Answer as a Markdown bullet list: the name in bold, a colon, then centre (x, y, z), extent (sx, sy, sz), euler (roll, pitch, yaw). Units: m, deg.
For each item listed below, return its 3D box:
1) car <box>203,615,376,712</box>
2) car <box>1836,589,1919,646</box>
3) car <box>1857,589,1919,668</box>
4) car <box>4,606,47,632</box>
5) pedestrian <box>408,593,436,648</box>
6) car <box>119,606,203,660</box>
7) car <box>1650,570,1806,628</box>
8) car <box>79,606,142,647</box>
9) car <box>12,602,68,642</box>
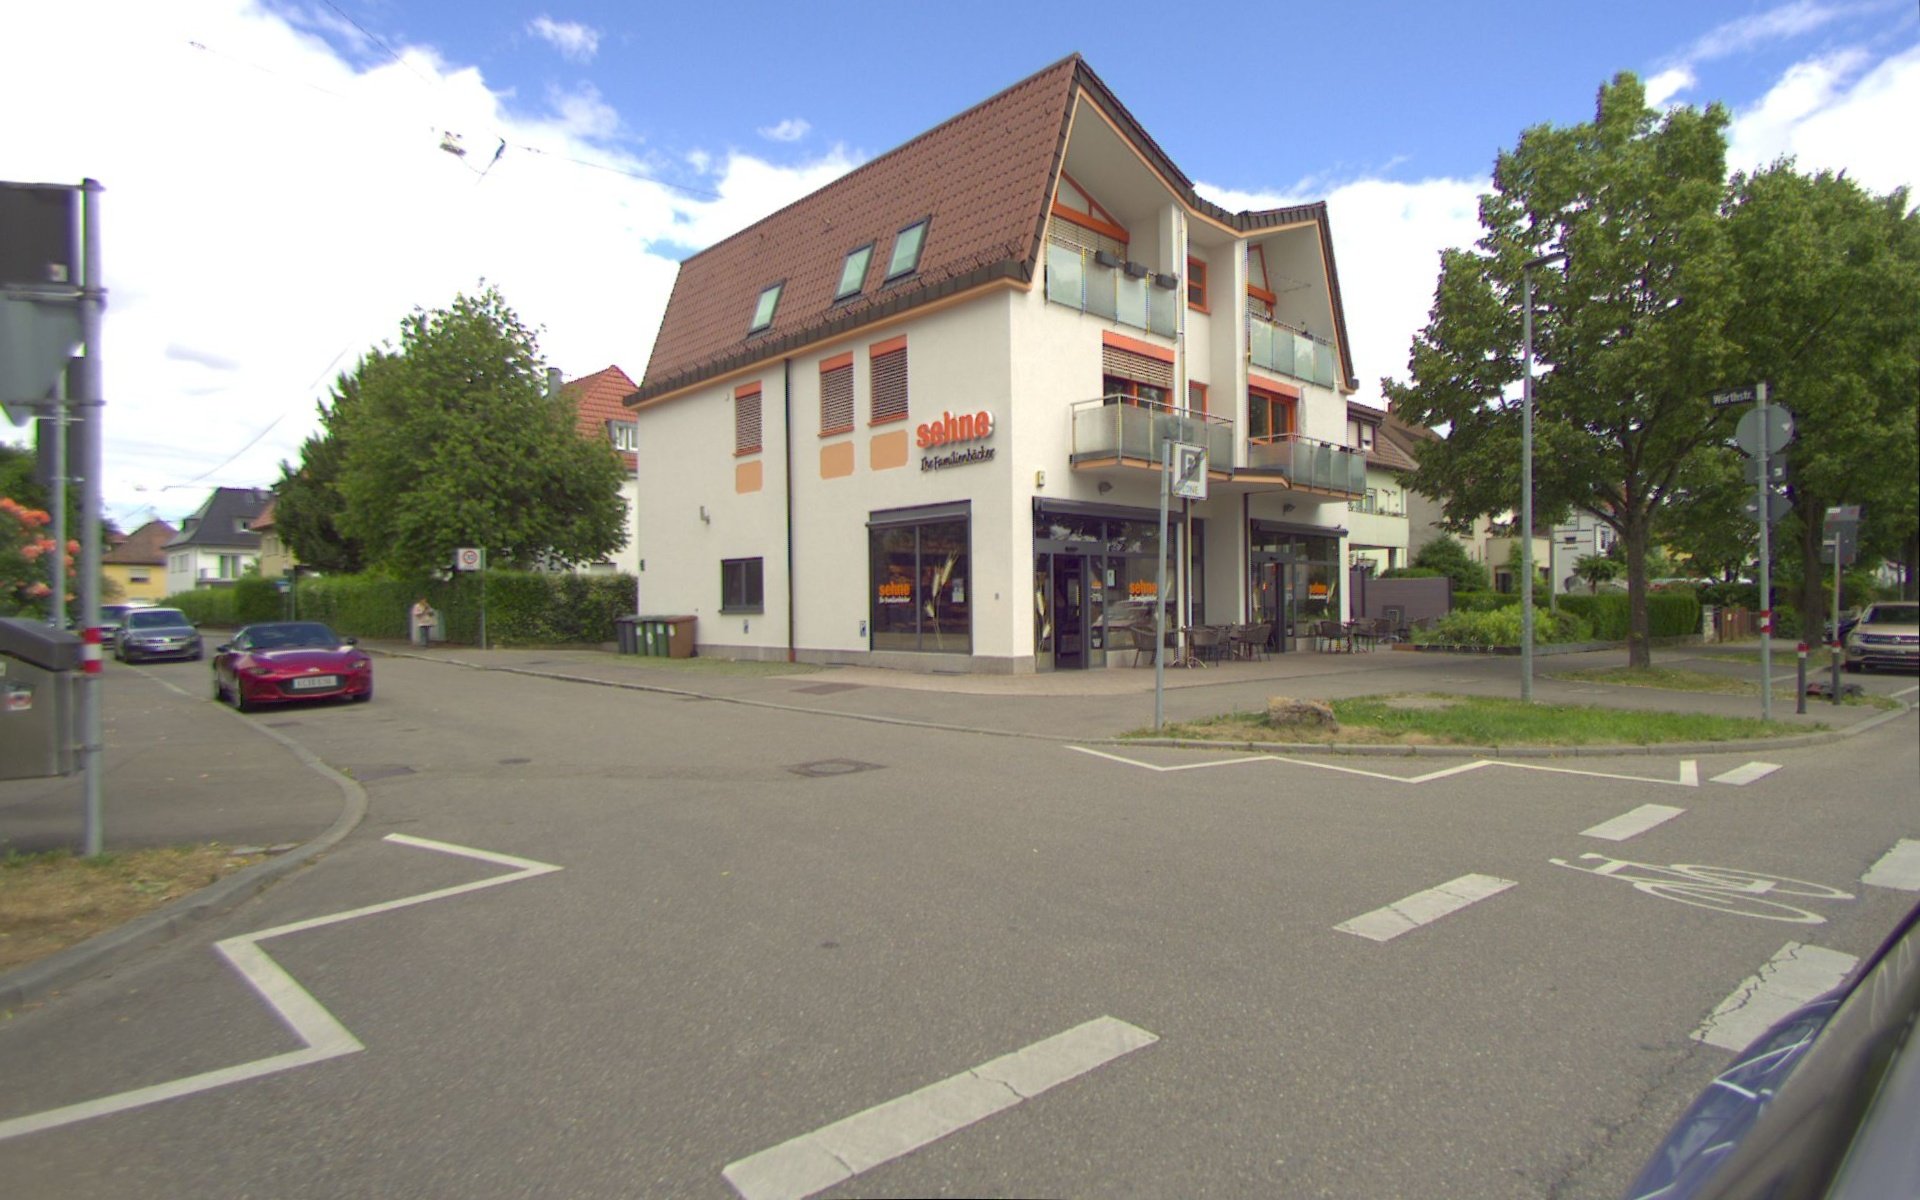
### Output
- **car**: centre (-10.538, 0.903, 15.806), extent (1.717, 1.246, 3.701), euler (-3, 1, -42)
- **car**: centre (29.200, 0.545, 30.418), extent (1.665, 1.658, 4.220), euler (0, 1, -44)
- **car**: centre (20.974, 0.579, 22.042), extent (3.991, 1.600, 1.724), euler (0, 0, -42)
- **car**: centre (-51.574, 1.034, 55.886), extent (1.630, 1.323, 3.689), euler (0, 0, -41)
- **pedestrian**: centre (-16.004, 0.598, 30.127), extent (0.552, 1.577, 0.576), euler (-4, 2, -41)
- **car**: centre (-21.946, 0.850, 27.738), extent (1.630, 1.323, 3.689), euler (0, 0, -41)
- **car**: centre (36.570, -0.048, 48.356), extent (1.964, 2.625, 5.718), euler (2, -1, -43)
- **car**: centre (-30.156, 0.899, 35.893), extent (1.630, 1.323, 3.689), euler (0, 0, -41)
- **car**: centre (-43.396, 0.983, 47.709), extent (3.987, 1.772, 1.737), euler (0, 0, 44)
